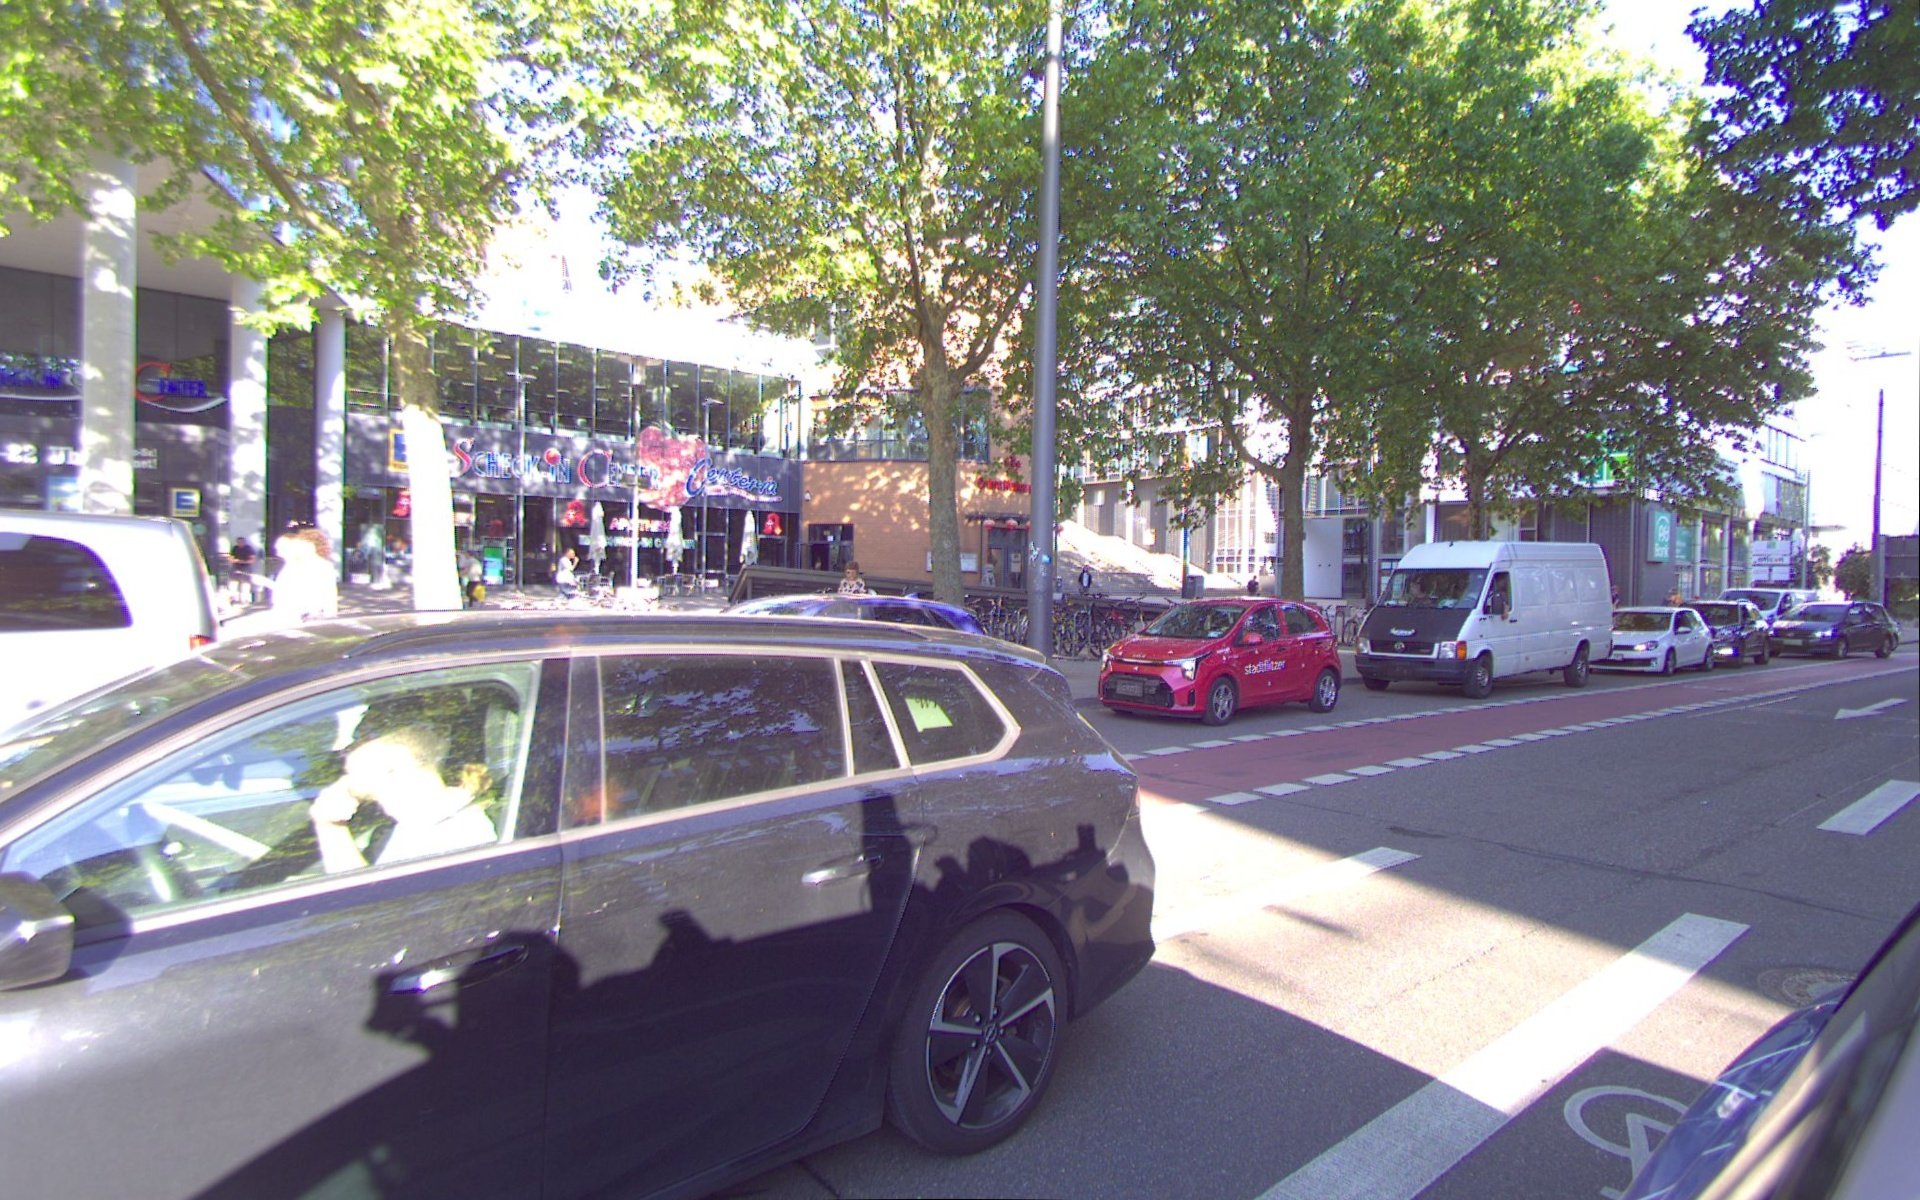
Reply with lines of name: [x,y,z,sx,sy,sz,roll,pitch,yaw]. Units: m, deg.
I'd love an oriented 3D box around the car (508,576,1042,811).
car: [-1.391,0.594,8.619,4.177,1.503,1.742,0,2,-41]

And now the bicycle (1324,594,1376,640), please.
bicycle: [10.664,0.442,27.628,1.818,1.209,0.495,0,1,-41]

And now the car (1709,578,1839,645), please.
car: [26.461,0.344,32.851,4.863,2.020,1.968,0,1,-35]

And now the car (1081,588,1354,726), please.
car: [3.339,0.607,12.815,3.588,1.476,1.605,0,1,-41]

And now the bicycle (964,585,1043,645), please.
bicycle: [0.934,0.296,21.345,1.818,1.209,0.458,0,1,-41]

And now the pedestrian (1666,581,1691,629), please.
pedestrian: [26.858,0.176,37.825,0.443,1.790,0.627,0,1,-38]

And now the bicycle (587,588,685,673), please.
bicycle: [-4.436,0.398,13.881,1.202,1.110,0.413,0,1,-40]

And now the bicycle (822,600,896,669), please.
bicycle: [-1.689,0.556,17.046,1.202,1.110,0.420,0,1,-40]

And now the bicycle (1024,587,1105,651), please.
bicycle: [2.109,0.361,20.256,1.818,1.209,0.484,0,1,-41]

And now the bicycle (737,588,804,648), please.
bicycle: [-3.644,0.343,19.502,1.202,1.110,0.444,0,1,-40]

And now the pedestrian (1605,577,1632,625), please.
pedestrian: [24.844,0.031,38.177,0.516,1.790,0.716,0,1,-39]

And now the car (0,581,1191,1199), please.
car: [-1.416,0.683,2.473,4.196,1.432,1.742,0,0,-41]

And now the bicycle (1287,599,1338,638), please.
bicycle: [9.924,0.505,28.451,1.818,1.046,0.515,0,2,-41]

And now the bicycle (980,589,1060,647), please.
bicycle: [1.254,0.351,20.965,1.818,1.139,0.484,0,2,-41]

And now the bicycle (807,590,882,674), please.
bicycle: [-1.801,0.480,15.800,1.126,1.271,0.379,0,1,-41]

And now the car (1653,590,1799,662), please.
car: [19.152,0.590,25.263,4.148,1.640,1.819,0,1,-36]

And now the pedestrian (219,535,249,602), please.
pedestrian: [-18.780,-0.803,26.183,0.506,1.707,0.604,1,1,-23]

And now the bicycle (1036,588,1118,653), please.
bicycle: [2.297,0.387,19.747,1.818,1.209,0.448,0,1,-41]

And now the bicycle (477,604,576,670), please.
bicycle: [-6.239,0.518,14.593,1.231,0.898,0.462,0,1,-40]

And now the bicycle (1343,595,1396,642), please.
bicycle: [11.031,0.477,27.230,1.818,1.209,0.521,0,2,-41]

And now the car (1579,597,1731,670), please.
car: [15.325,0.675,22.254,3.927,1.446,1.683,0,1,-38]

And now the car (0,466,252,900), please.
car: [-6.217,0.356,4.372,5.008,2.004,1.940,0,2,-41]

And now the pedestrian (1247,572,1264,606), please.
pedestrian: [14.202,-0.540,48.625,0.707,1.578,0.638,1,1,14]

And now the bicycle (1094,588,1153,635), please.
bicycle: [4.389,0.304,27.063,1.759,1.209,0.517,0,2,-41]

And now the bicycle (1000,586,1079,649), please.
bicycle: [1.627,0.338,20.517,1.818,1.209,0.447,0,1,-41]

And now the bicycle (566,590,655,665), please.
bicycle: [-5.361,0.405,15.585,0.372,1.110,1.269,2,1,41]

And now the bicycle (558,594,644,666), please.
bicycle: [-5.768,0.462,16.302,0.414,1.110,1.269,2,1,41]

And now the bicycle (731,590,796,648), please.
bicycle: [-3.889,0.372,20.046,1.202,1.110,0.429,0,1,-40]

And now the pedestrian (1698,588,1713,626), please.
pedestrian: [28.012,0.257,38.027,0.492,1.392,0.301,0,1,-37]

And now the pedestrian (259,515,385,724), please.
pedestrian: [-6.000,0.163,9.528,0.639,1.868,0.804,1,1,34]

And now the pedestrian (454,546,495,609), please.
pedestrian: [-13.522,-0.628,28.177,0.801,1.728,0.709,2,1,34]

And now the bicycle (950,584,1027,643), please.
bicycle: [0.635,0.271,21.698,1.818,1.209,0.434,0,1,-41]

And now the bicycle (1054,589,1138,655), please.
bicycle: [2.620,0.398,19.362,1.818,1.209,0.481,0,1,-41]

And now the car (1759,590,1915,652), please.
car: [25.248,0.580,29.127,4.242,1.640,1.970,0,1,-28]

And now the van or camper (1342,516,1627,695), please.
van or camper: [9.282,0.070,17.559,6.456,2.611,1.998,0,0,-39]

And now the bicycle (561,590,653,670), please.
bicycle: [-5.158,0.423,14.837,1.202,1.110,0.396,0,1,-40]

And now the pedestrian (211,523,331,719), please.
pedestrian: [-6.633,0.181,9.754,0.644,1.799,0.755,1,1,33]

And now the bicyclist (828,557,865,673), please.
bicyclist: [-1.773,0.227,15.780,0.392,1.782,0.390,0,1,-41]

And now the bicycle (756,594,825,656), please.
bicycle: [-3.137,0.443,18.816,1.202,1.110,0.427,0,1,-40]

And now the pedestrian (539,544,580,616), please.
pedestrian: [-10.279,-0.523,25.980,0.869,1.805,0.604,1,1,-11]

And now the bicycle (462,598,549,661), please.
bicycle: [-6.960,0.453,15.540,1.198,0.930,0.442,1,1,-22]

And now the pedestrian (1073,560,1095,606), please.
pedestrian: [5.661,-0.787,46.328,0.865,2.062,0.582,1,1,19]

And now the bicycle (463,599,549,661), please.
bicycle: [-7.122,0.462,15.917,1.198,0.938,0.465,1,1,-22]

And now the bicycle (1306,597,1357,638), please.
bicycle: [10.308,0.469,28.041,1.766,1.108,0.522,0,2,-41]

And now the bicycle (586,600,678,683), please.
bicycle: [-4.582,0.563,14.178,1.202,1.110,0.269,0,1,-40]

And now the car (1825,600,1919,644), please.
car: [32.198,0.742,35.685,3.927,1.394,1.802,0,2,-38]
